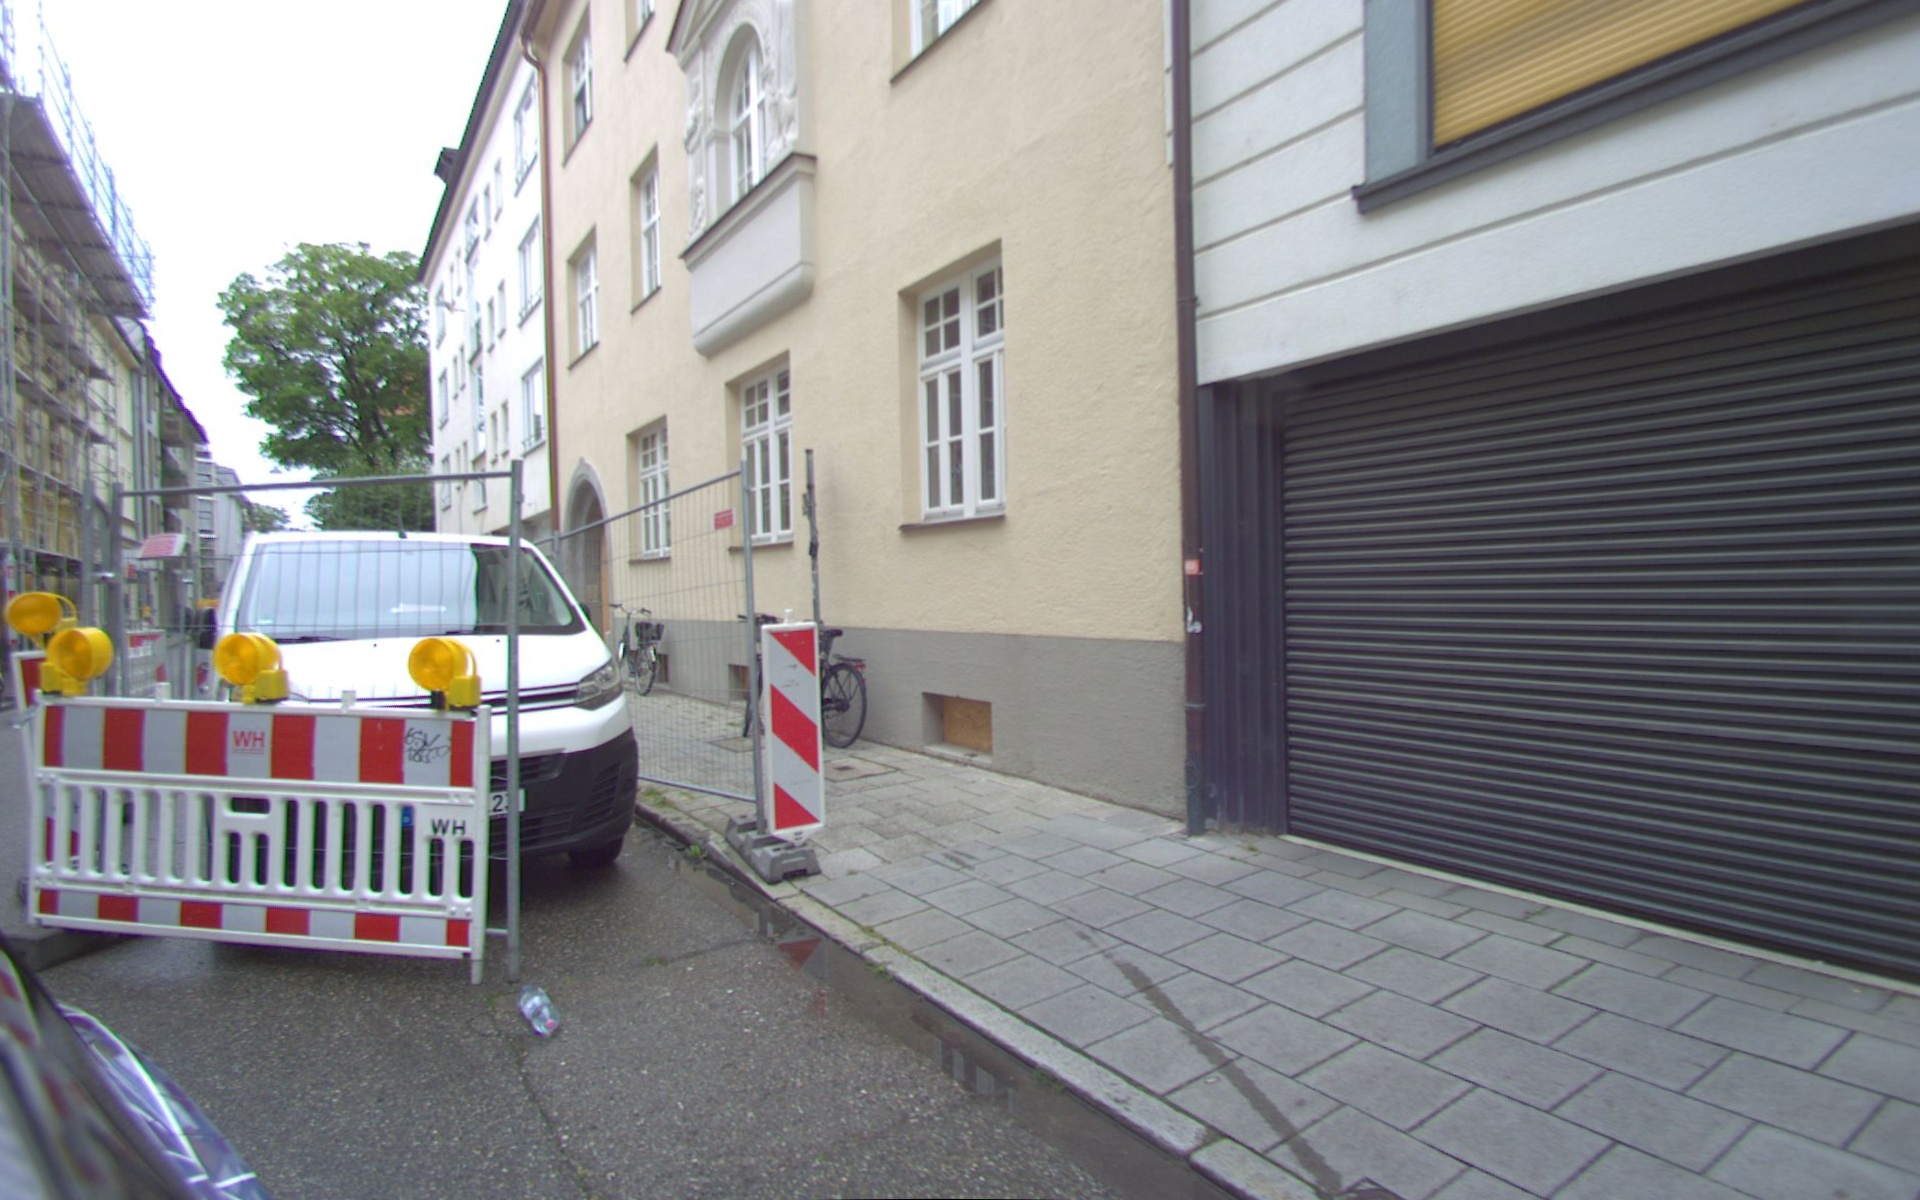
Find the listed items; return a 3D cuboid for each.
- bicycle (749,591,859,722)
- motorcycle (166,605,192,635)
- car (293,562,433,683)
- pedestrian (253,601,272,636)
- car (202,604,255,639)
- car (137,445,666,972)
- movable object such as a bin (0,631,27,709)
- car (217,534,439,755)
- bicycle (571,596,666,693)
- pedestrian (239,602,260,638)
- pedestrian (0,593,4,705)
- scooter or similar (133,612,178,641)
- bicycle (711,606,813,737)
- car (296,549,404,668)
[{"bbox_3d":[-1.412,0.465,8.980,0.299,1.059,1.458,-5,3,-34],"label":"bicycle"},{"bbox_3d":[-39.108,0.995,50.672,0.794,1.434,1.938,3,-2,-32],"label":"motorcycle"},{"bbox_3d":[-11.016,0.336,18.501,1.891,1.911,4.803,-1,1,-34],"label":"car"},{"bbox_3d":[-35.026,0.929,50.823,0.649,1.698,0.548,-4,2,-28],"label":"pedestrian"},{"bbox_3d":[-37.275,1.064,51.652,1.748,1.535,4.078,-5,3,-31],"label":"car"},{"bbox_3d":[-3.687,0.353,6.279,1.880,1.911,5.101,-3,2,-36],"label":"car"},{"bbox_3d":[-15.067,1.072,15.620,0.985,1.149,0.724,1,-1,32],"label":"movable object such as a bin"},{"bbox_3d":[-7.229,0.368,11.552,1.704,1.911,5.524,-1,1,-33],"label":"car"},{"bbox_3d":[-4.660,0.586,13.716,0.376,1.197,2.139,-4,1,-40],"label":"bicycle"},{"bbox_3d":[-34.588,0.957,49.259,0.649,1.698,0.588,-4,2,-28],"label":"pedestrian"},{"bbox_3d":[-15.763,0.767,15.971,0.985,1.766,0.724,1,-1,32],"label":"pedestrian"},{"bbox_3d":[-33.963,1.088,42.758,0.489,1.192,1.604,0,-1,7],"label":"scooter or similar"},{"bbox_3d":[-1.785,0.597,9.002,0.299,1.059,1.394,-5,3,-34],"label":"bicycle"},{"bbox_3d":[-15.514,0.158,25.532,1.967,2.598,6.755,-2,1,-34],"label":"car"}]
